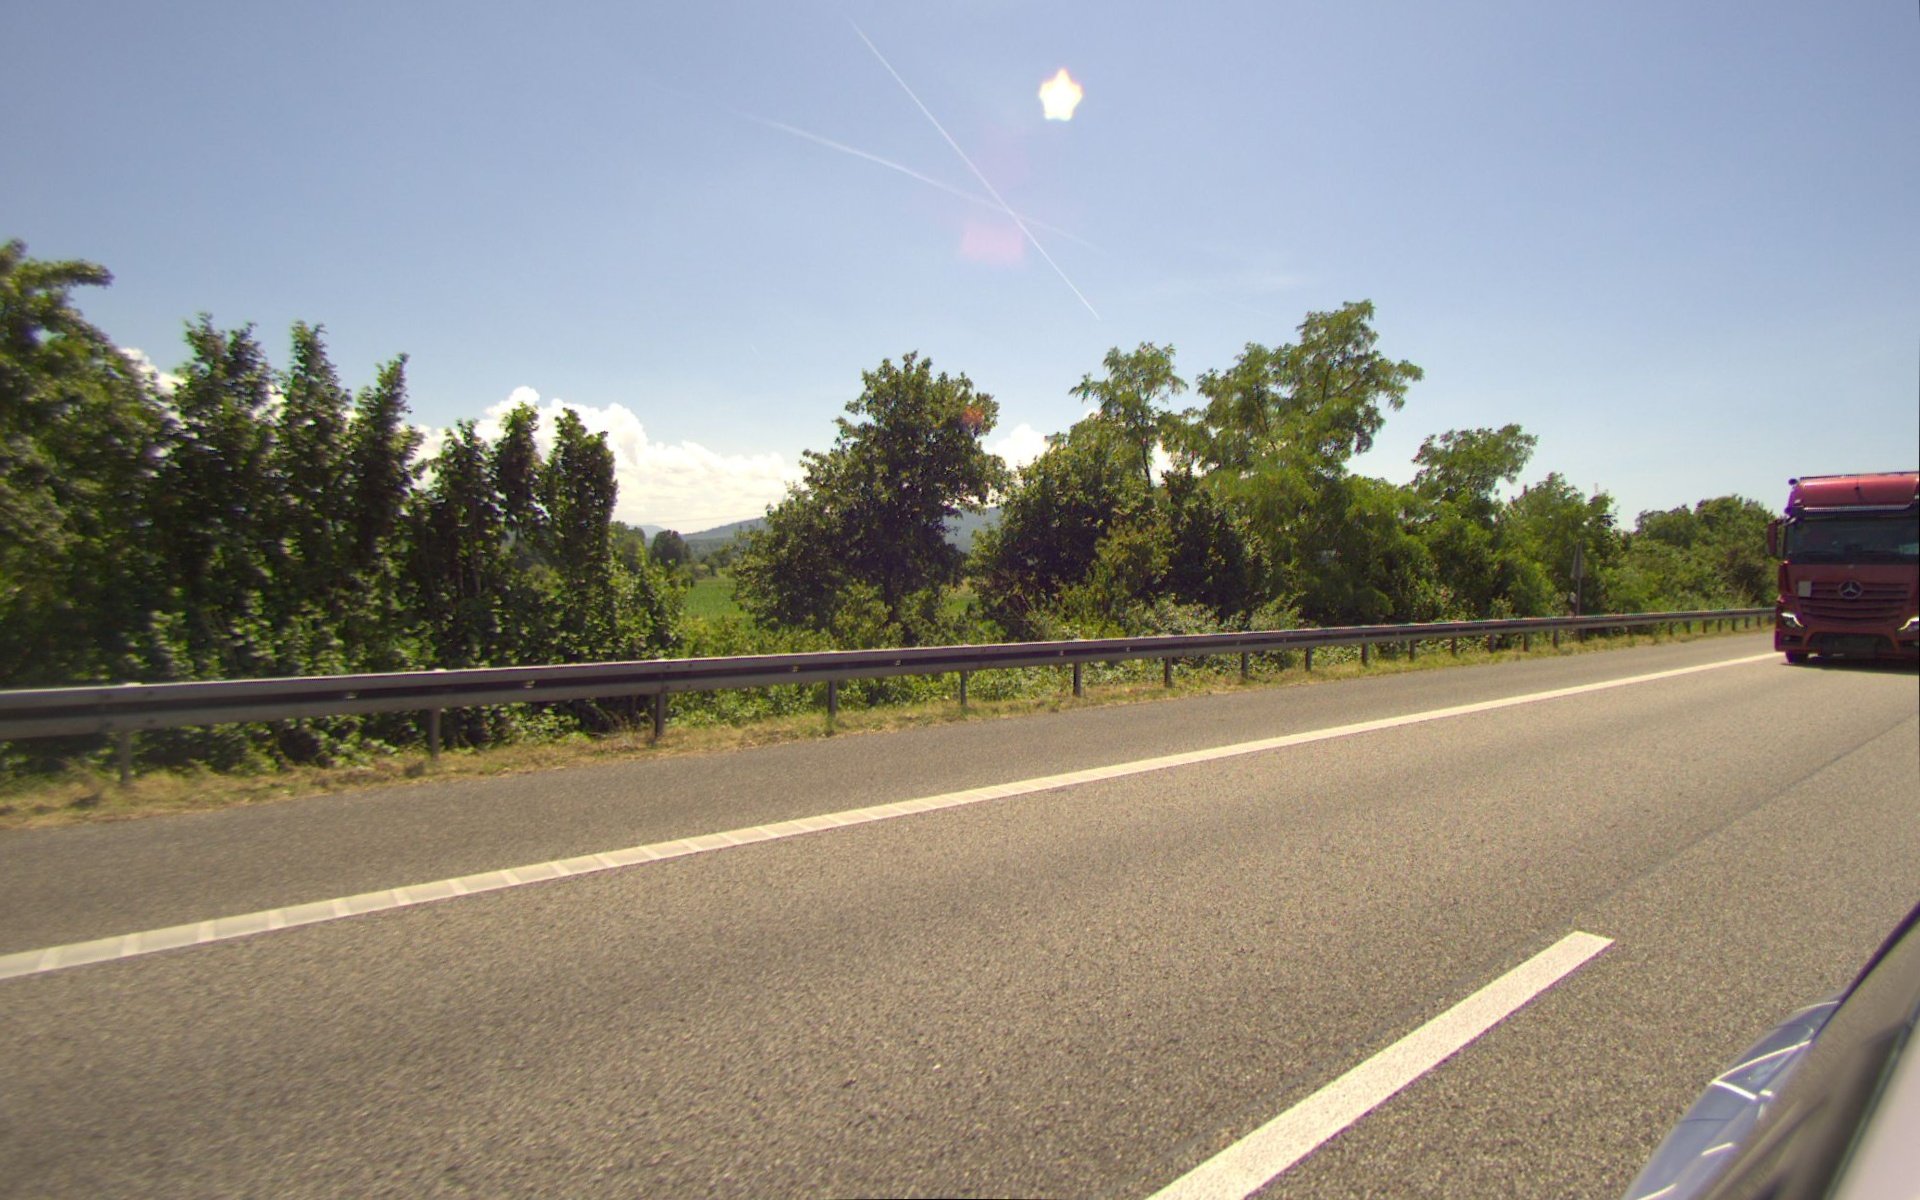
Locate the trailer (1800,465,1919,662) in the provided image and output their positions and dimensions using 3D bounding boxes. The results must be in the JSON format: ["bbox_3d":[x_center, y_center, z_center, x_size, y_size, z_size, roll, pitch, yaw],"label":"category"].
[{"bbox_3d":[25.206,-0.796,26.111,13.896,4.138,2.714,0,2,-39],"label":"trailer"}]

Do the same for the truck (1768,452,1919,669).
[{"bbox_3d":[20.377,-0.798,22.117,6.839,4.138,2.714,0,2,-39],"label":"truck"}]
